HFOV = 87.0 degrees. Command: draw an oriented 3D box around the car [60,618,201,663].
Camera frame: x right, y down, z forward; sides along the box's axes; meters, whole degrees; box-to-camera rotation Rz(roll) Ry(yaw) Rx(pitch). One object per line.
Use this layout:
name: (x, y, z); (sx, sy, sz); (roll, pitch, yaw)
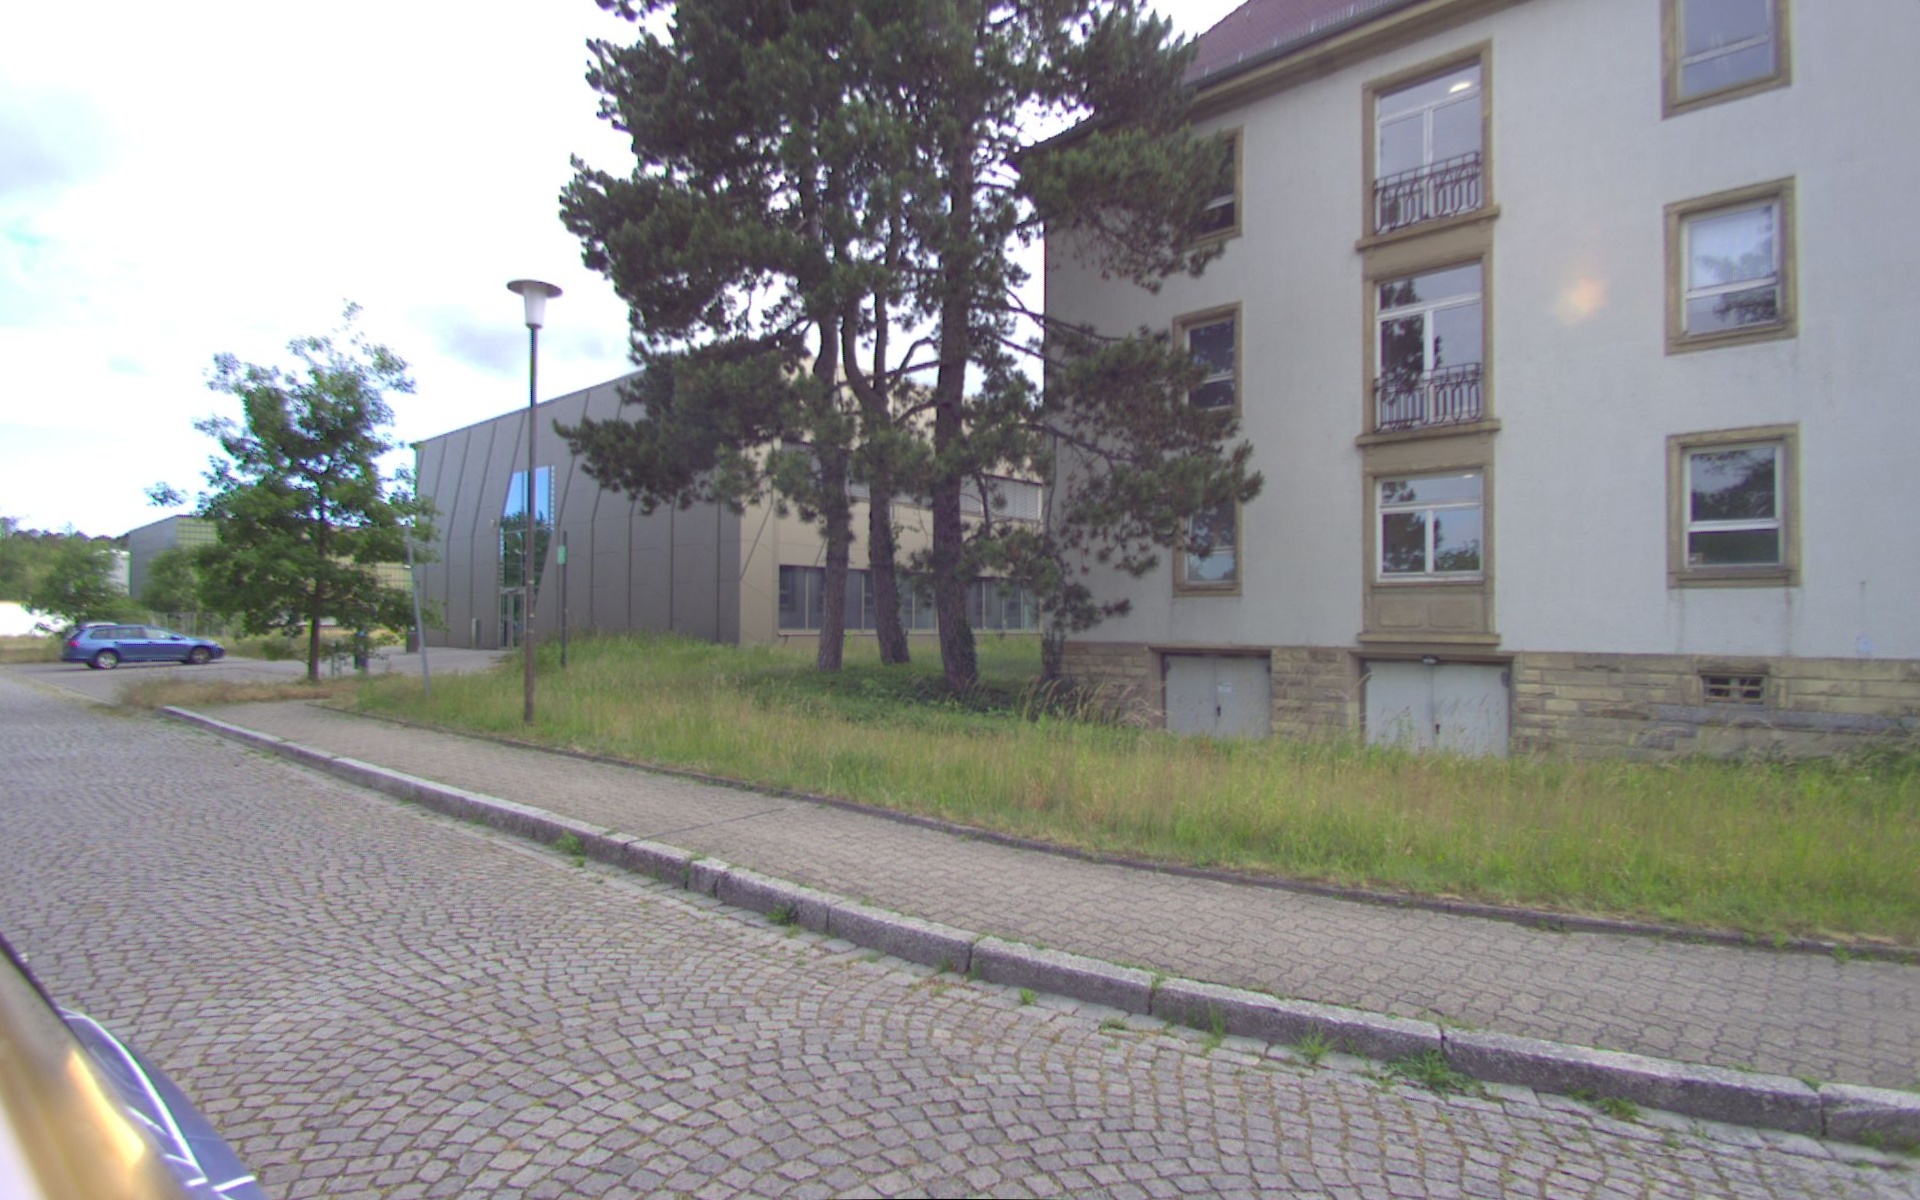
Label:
car: (-33.534, 1.595, 40.983); (1.837, 1.598, 4.140); (-1, 1, 39)

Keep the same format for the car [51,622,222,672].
car: (-28.635, 1.582, 35.309); (1.837, 1.474, 4.359); (-1, 1, 39)
